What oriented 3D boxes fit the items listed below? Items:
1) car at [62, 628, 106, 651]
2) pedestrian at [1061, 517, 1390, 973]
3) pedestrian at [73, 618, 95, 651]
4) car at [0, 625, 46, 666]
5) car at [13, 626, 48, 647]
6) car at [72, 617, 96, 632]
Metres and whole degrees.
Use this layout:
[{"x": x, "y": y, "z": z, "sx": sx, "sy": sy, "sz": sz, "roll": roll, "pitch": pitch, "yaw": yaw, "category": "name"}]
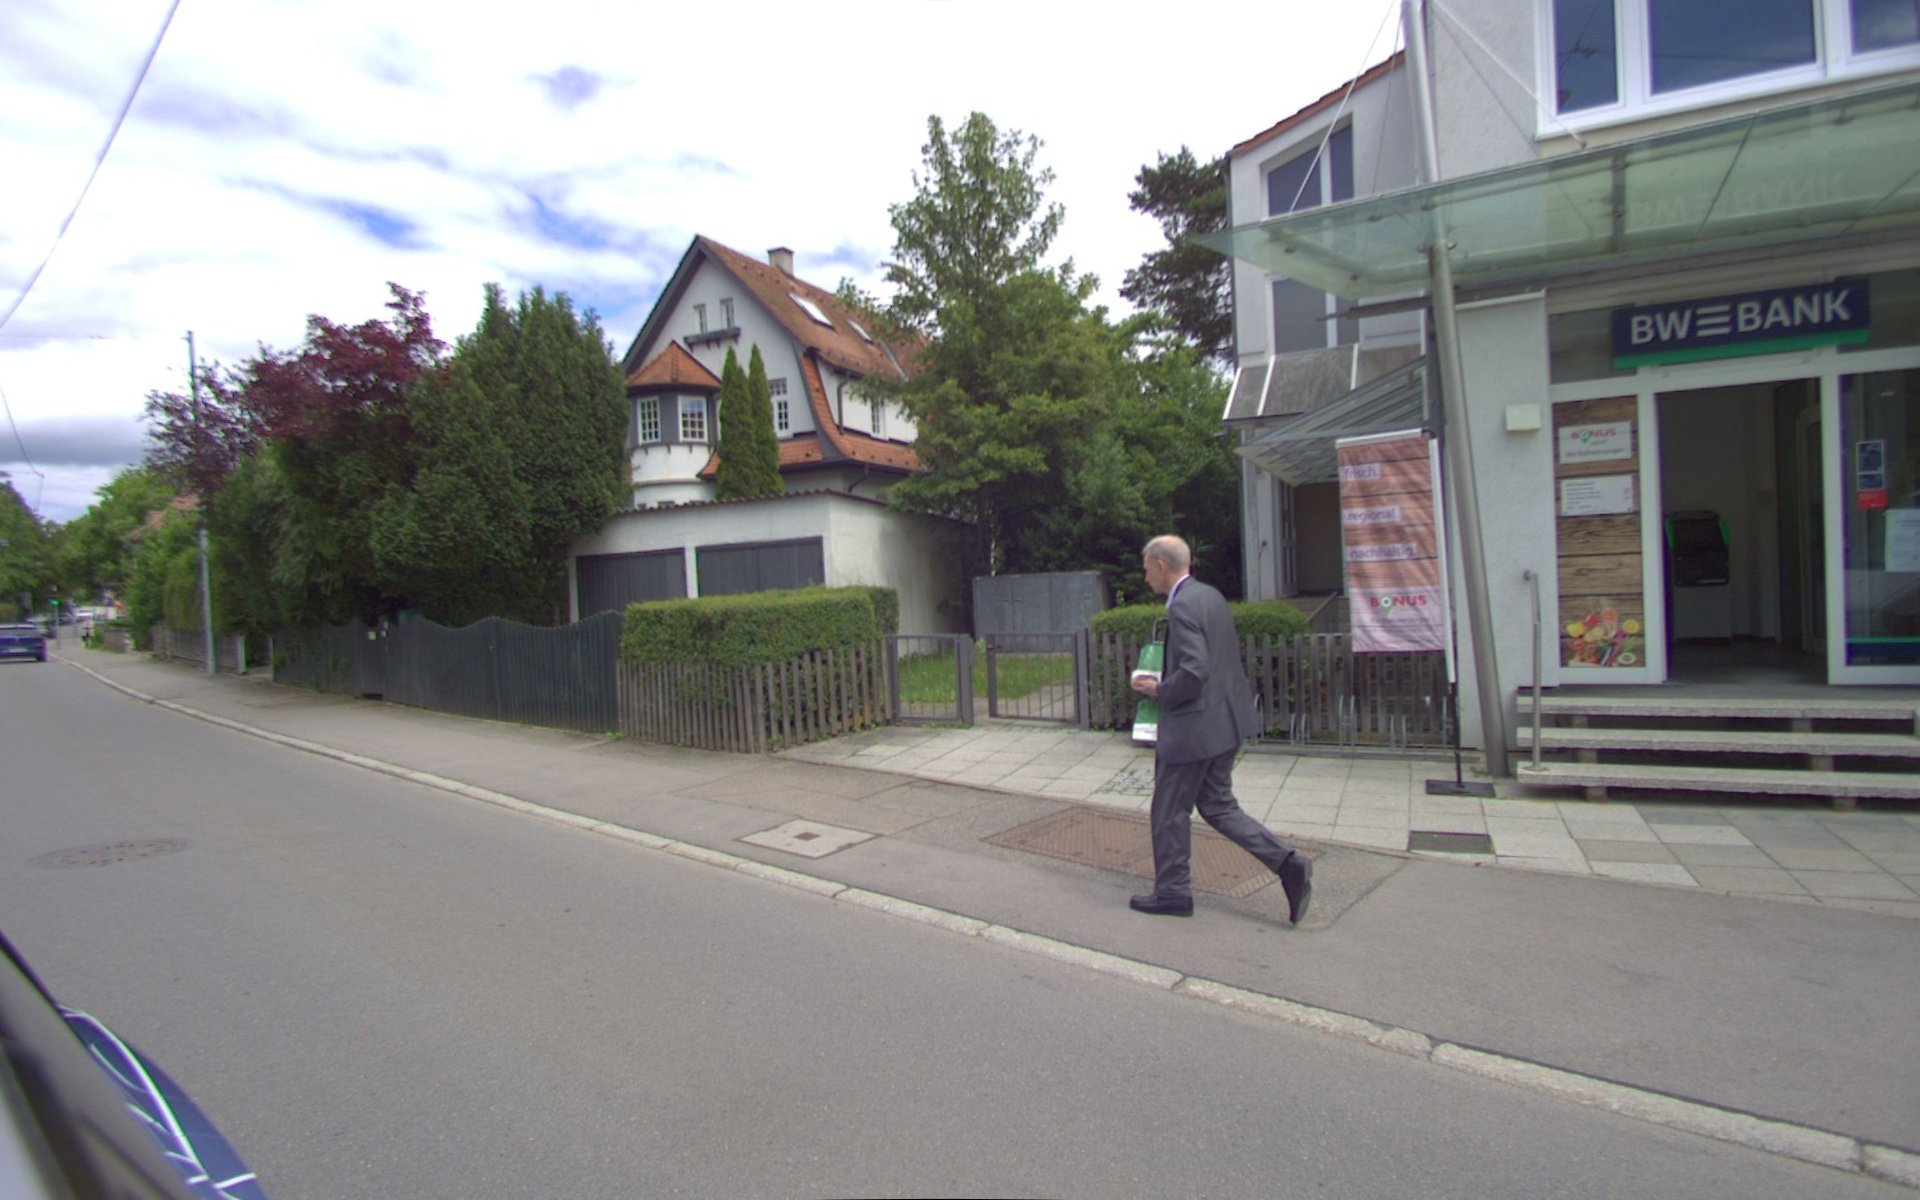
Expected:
[{"x": -61.992, "y": 2.801, "z": 71.666, "sx": 1.794, "sy": 1.361, "sz": 3.401, "roll": -5, "pitch": 3, "yaw": -33, "category": "car"}, {"x": 1.142, "y": 0.537, "z": 4.401, "sx": 1.109, "sy": 1.699, "sz": 0.715, "roll": -2, "pitch": 2, "yaw": 42, "category": "pedestrian"}, {"x": -47.842, "y": 1.882, "z": 55.276, "sx": 0.810, "sy": 1.757, "sz": 0.605, "roll": -5, "pitch": 3, "yaw": -43, "category": "pedestrian"}, {"x": -36.296, "y": 1.727, "z": 38.906, "sx": 1.673, "sy": 1.442, "sz": 3.932, "roll": -2, "pitch": 0, "yaw": -42, "category": "car"}, {"x": -74.525, "y": 2.896, "z": 81.105, "sx": 4.140, "sy": 1.668, "sz": 1.819, "roll": -1, "pitch": -2, "yaw": 44, "category": "car"}, {"x": -111.412, "y": 3.138, "z": 128.676, "sx": 1.971, "sy": 1.709, "sz": 4.004, "roll": -5, "pitch": 3, "yaw": -43, "category": "car"}]
